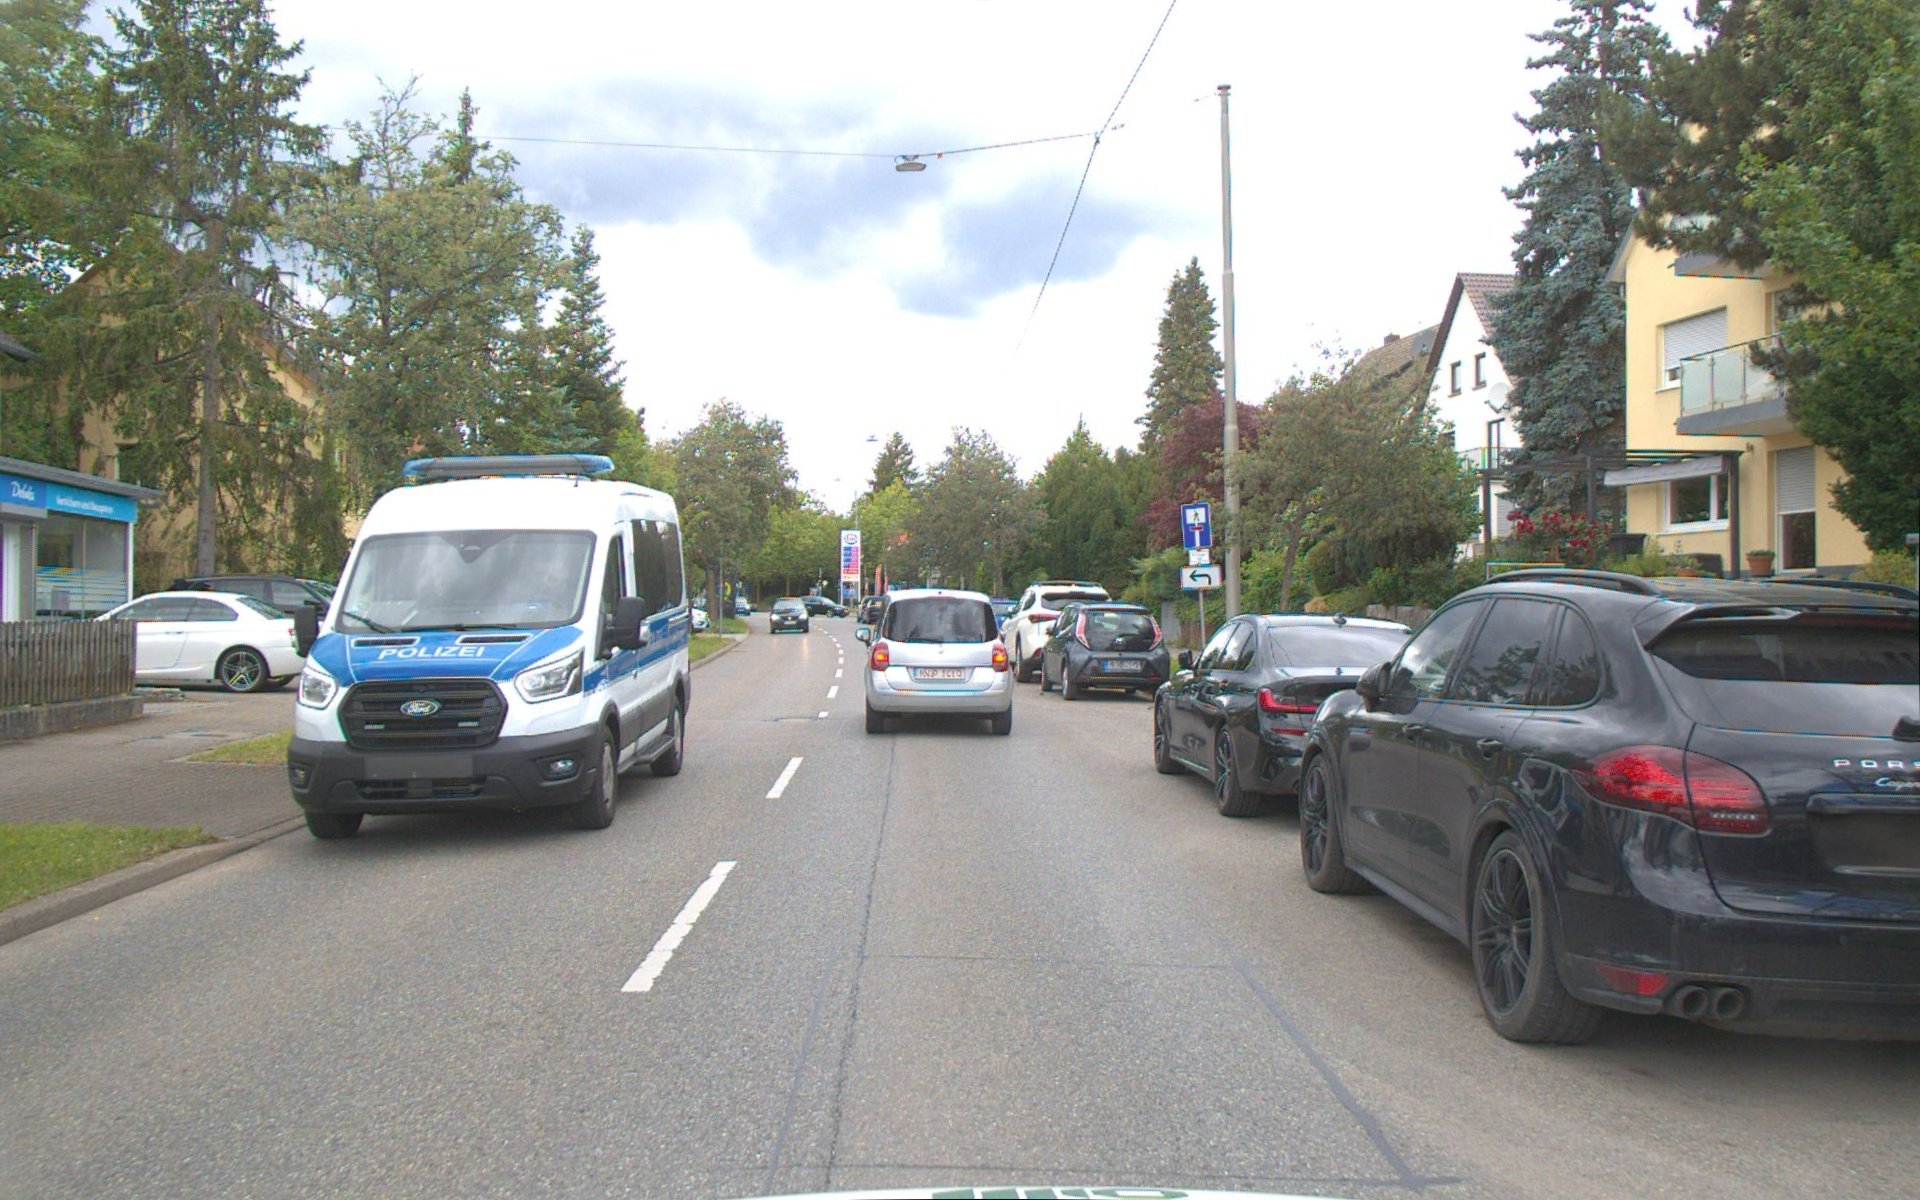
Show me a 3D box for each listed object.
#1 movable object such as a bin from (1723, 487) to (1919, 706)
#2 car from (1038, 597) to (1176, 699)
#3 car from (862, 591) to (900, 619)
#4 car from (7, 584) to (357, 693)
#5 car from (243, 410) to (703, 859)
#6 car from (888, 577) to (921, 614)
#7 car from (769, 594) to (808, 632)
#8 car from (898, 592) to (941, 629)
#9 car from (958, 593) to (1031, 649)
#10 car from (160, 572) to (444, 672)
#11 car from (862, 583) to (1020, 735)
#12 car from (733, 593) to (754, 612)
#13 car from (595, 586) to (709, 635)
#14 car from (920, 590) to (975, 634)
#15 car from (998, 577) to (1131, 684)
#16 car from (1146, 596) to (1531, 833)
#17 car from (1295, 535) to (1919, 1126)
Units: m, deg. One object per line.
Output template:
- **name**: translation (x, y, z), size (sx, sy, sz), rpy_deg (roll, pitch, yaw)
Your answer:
- **movable object such as a bin**: translation (9.054, -0.011, 16.449), size (2.266, 2.049, 1.341), rpy_deg (2, 0, -6)
- **car**: translation (2.250, 0.711, 26.089), size (1.528, 1.468, 3.503), rpy_deg (1, 0, -5)
- **car**: translation (-4.438, 0.276, 92.733), size (1.664, 1.532, 3.964), rpy_deg (0, 0, -10)
- **car**: translation (-11.198, 0.548, 24.082), size (4.198, 1.392, 1.813), rpy_deg (2, 0, -8)
- **car**: translation (-3.339, 0.192, 12.611), size (2.032, 2.627, 5.297), rpy_deg (-2, 0, -2)
- **car**: translation (-4.649, -0.371, 137.942), size (2.238, 2.962, 5.271), rpy_deg (2, 0, -7)
- **car**: translation (-7.256, 0.527, 70.113), size (1.544, 1.498, 3.467), rpy_deg (-3, 0, -5)
- **car**: translation (-1.822, 0.443, 72.862), size (1.662, 1.598, 3.951), rpy_deg (0, 0, -5)
- **car**: translation (0.933, 0.558, 46.292), size (1.595, 1.477, 3.871), rpy_deg (0, 0, -6)
- **car**: translation (-11.667, 0.386, 29.553), size (4.245, 1.646, 1.973), rpy_deg (1, 0, -1)
- **car**: translation (-0.238, 0.623, 19.300), size (1.645, 1.587, 3.511), rpy_deg (1, 0, -1)
- **car**: translation (-17.125, 0.208, 130.794), size (1.515, 1.496, 3.737), rpy_deg (0, 0, -6)
- **car**: translation (-11.471, 0.397, 61.730), size (4.007, 1.736, 1.745), rpy_deg (1, 0, -5)
- **car**: translation (-0.515, 0.435, 61.951), size (1.663, 1.585, 3.950), rpy_deg (0, 0, -6)
- **car**: translation (1.868, 0.519, 30.970), size (1.764, 1.809, 4.700), rpy_deg (1, 0, -5)
- **car**: translation (2.716, 0.743, 12.992), size (1.793, 1.482, 4.548), rpy_deg (2, 0, -2)
- **car**: translation (2.842, 0.667, 7.174), size (1.793, 1.742, 4.548), rpy_deg (0, 0, -1)
